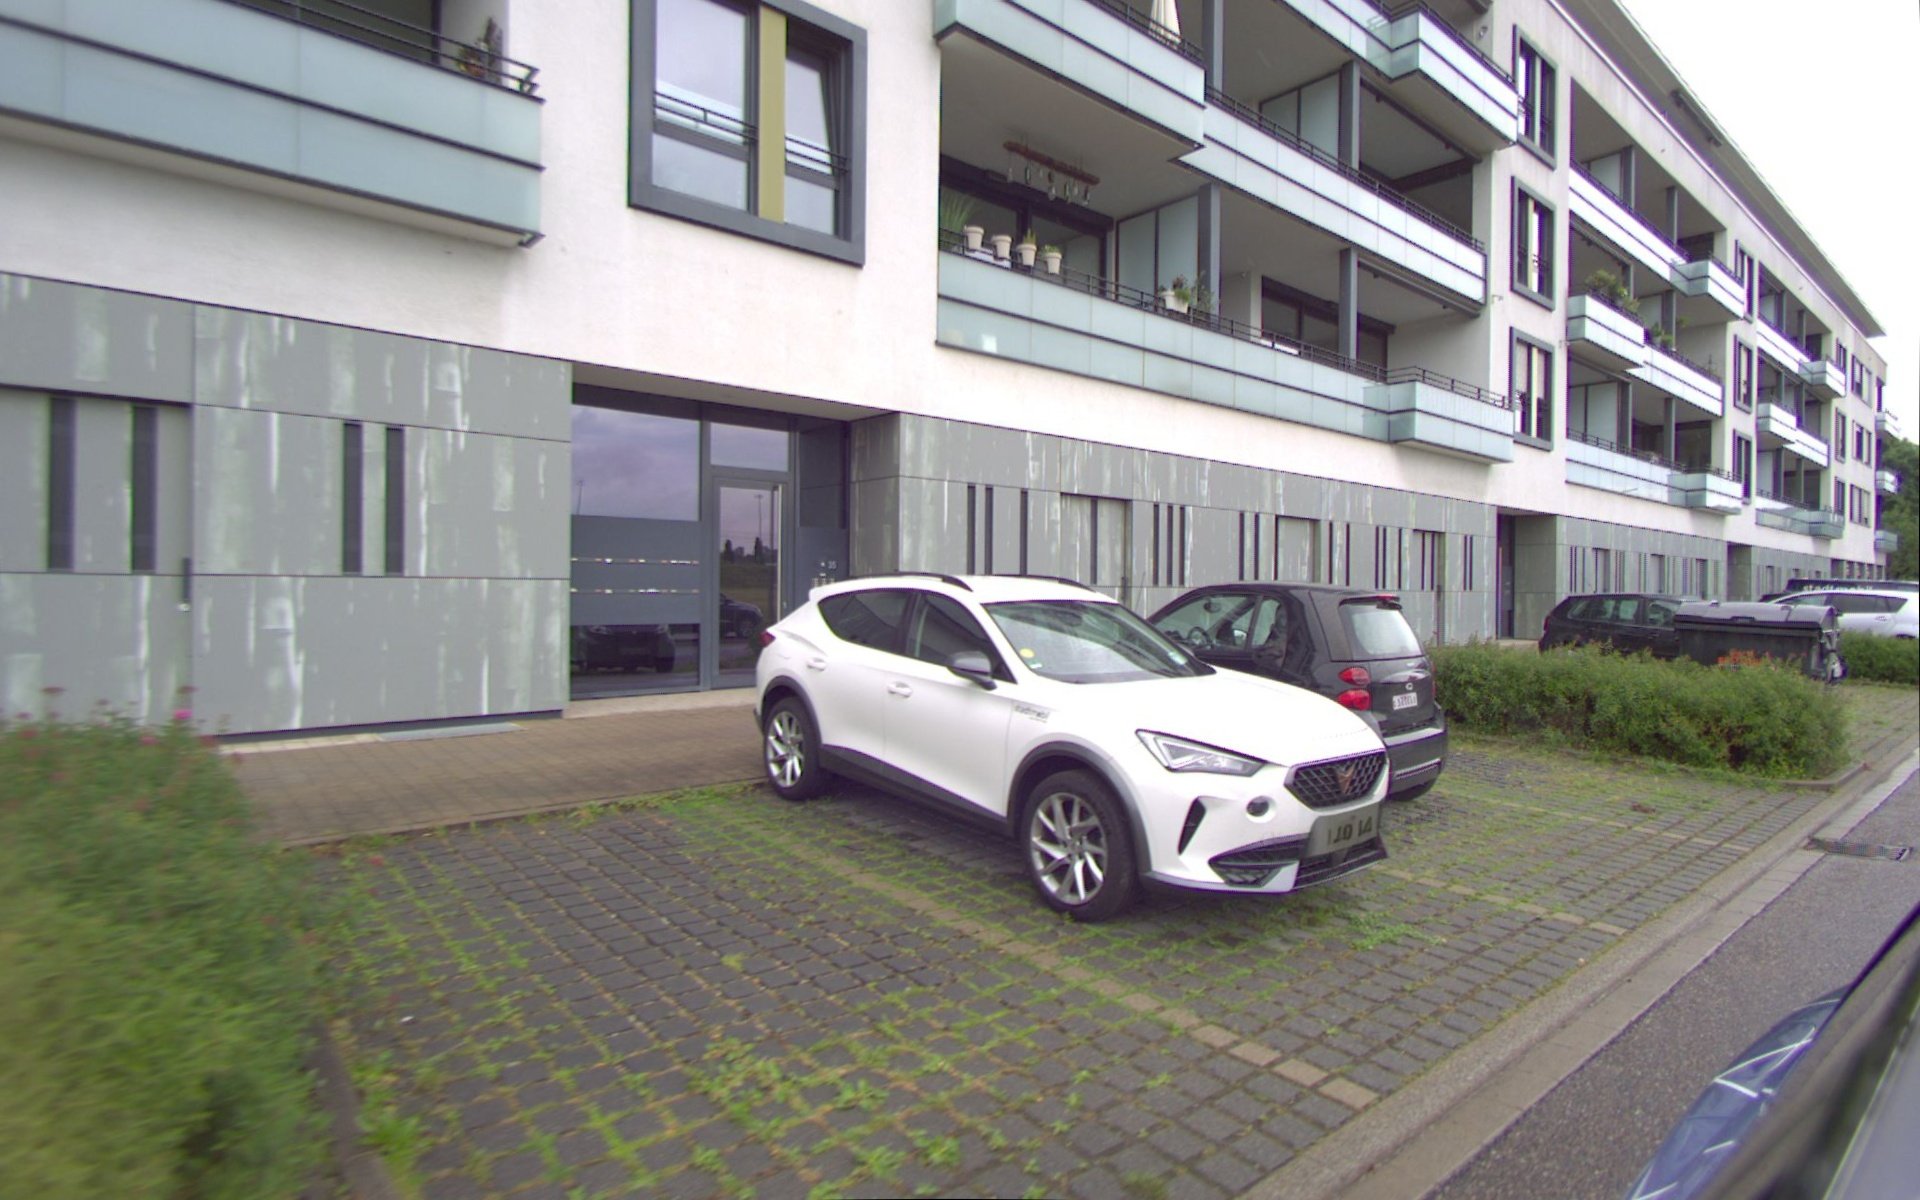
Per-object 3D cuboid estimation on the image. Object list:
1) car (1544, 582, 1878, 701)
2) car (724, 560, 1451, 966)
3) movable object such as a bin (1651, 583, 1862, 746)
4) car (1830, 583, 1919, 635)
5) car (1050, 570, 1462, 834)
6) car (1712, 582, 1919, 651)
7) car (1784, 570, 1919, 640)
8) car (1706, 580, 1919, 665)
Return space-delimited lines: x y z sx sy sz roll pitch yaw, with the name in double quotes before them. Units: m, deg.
"car" 11.560 0.541 15.795 1.731 1.509 3.855 0 2 -39
"car" 0.409 0.580 6.289 1.860 1.549 4.355 0 3 -40
"movable object such as a bin" 8.408 0.617 10.714 1.135 1.511 1.499 0 3 -40
"car" 32.076 0.313 33.597 2.043 1.621 4.434 0 2 -35
"car" 2.075 0.585 7.438 2.624 1.525 1.188 3 2 44
"car" 22.217 0.369 26.170 1.721 1.501 4.181 -1 3 -43
"car" 28.180 0.156 30.353 1.947 1.952 5.061 0 2 -40
"car" 18.893 0.424 21.878 1.658 1.664 4.215 -1 2 -41
